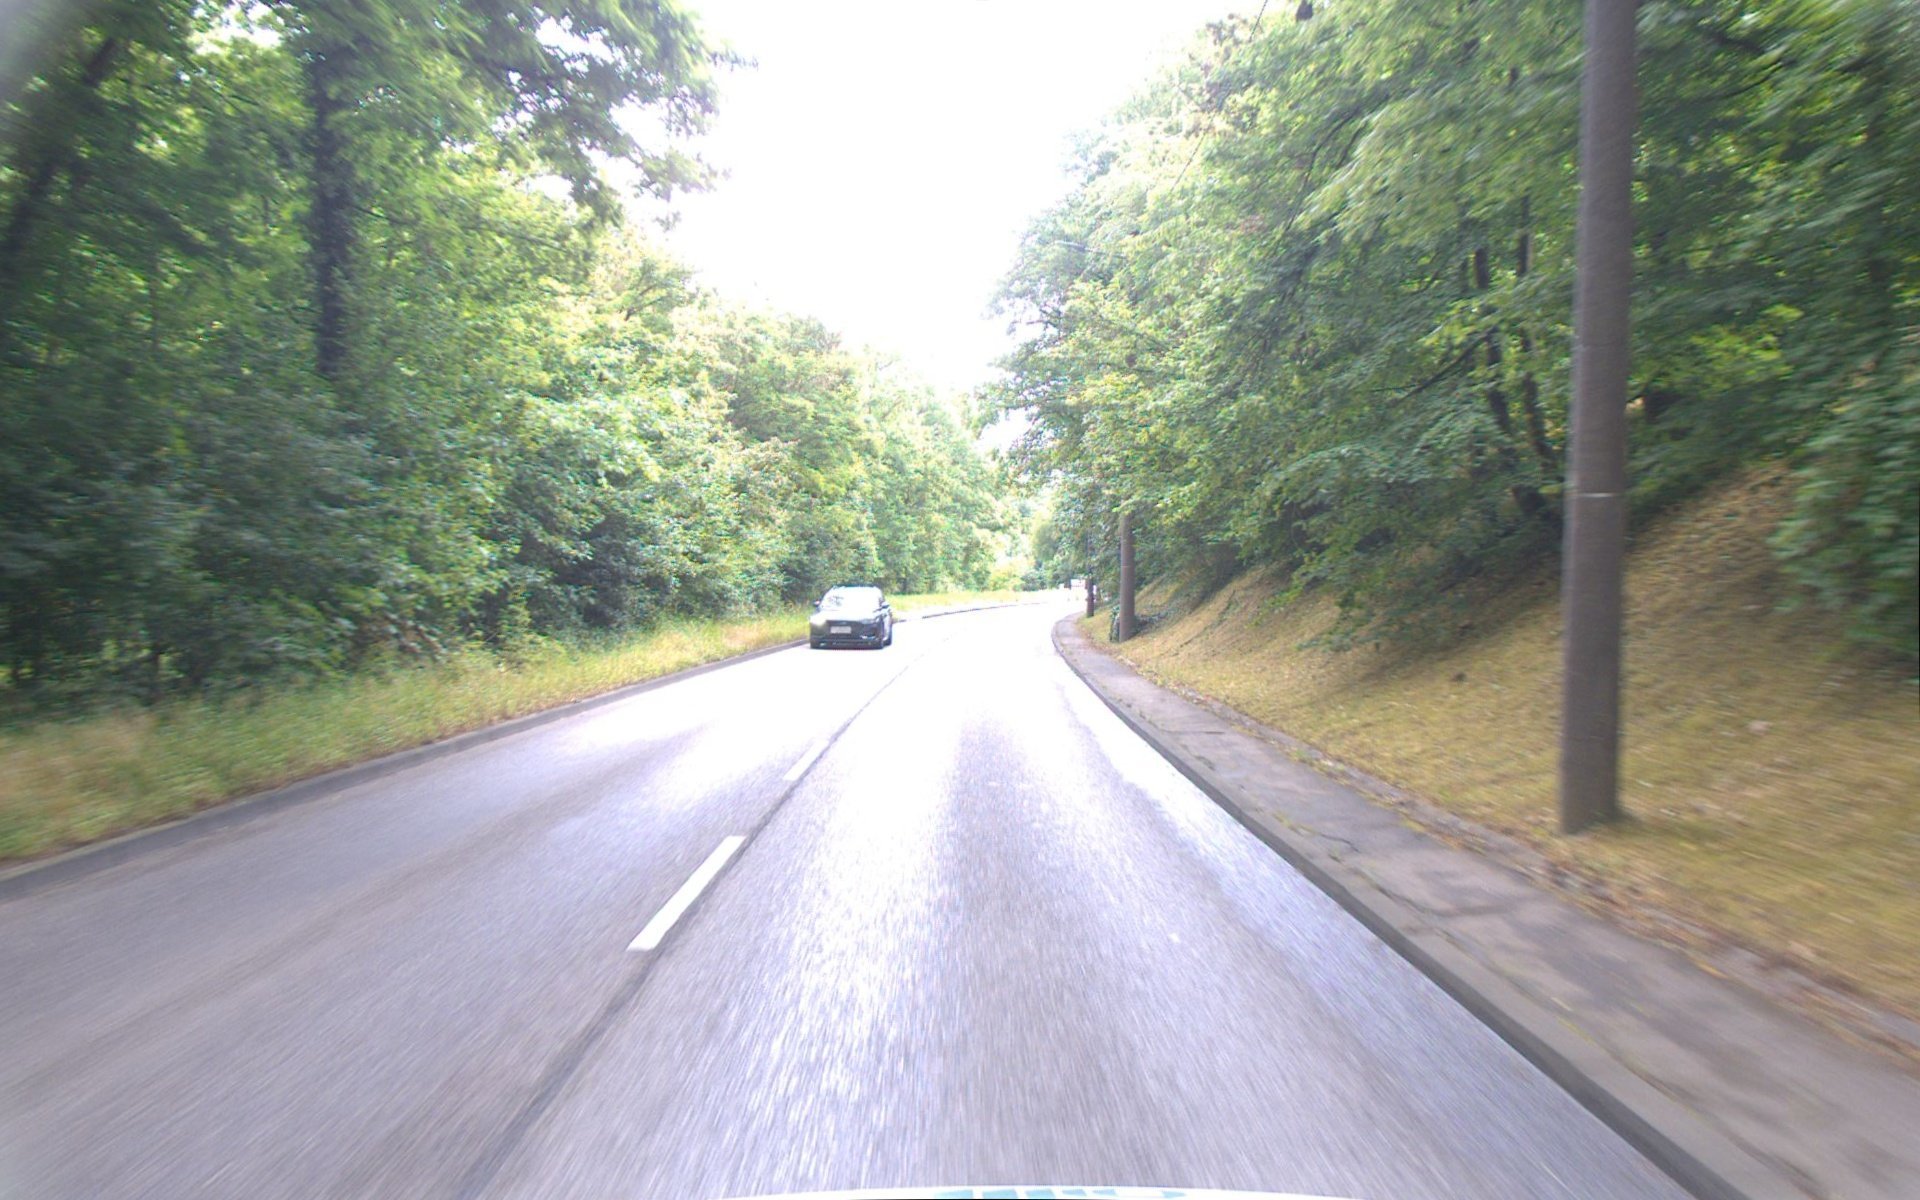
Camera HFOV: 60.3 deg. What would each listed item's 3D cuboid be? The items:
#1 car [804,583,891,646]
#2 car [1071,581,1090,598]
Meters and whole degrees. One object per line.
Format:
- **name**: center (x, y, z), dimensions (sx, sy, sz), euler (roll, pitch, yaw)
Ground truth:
- **car**: center (-2.853, 0.355, 41.316), dimensions (1.955, 1.462, 3.994), euler (2, 0, -7)
- **car**: center (13.709, -1.141, 187.508), dimensions (1.951, 1.784, 4.785), euler (2, 0, 6)
